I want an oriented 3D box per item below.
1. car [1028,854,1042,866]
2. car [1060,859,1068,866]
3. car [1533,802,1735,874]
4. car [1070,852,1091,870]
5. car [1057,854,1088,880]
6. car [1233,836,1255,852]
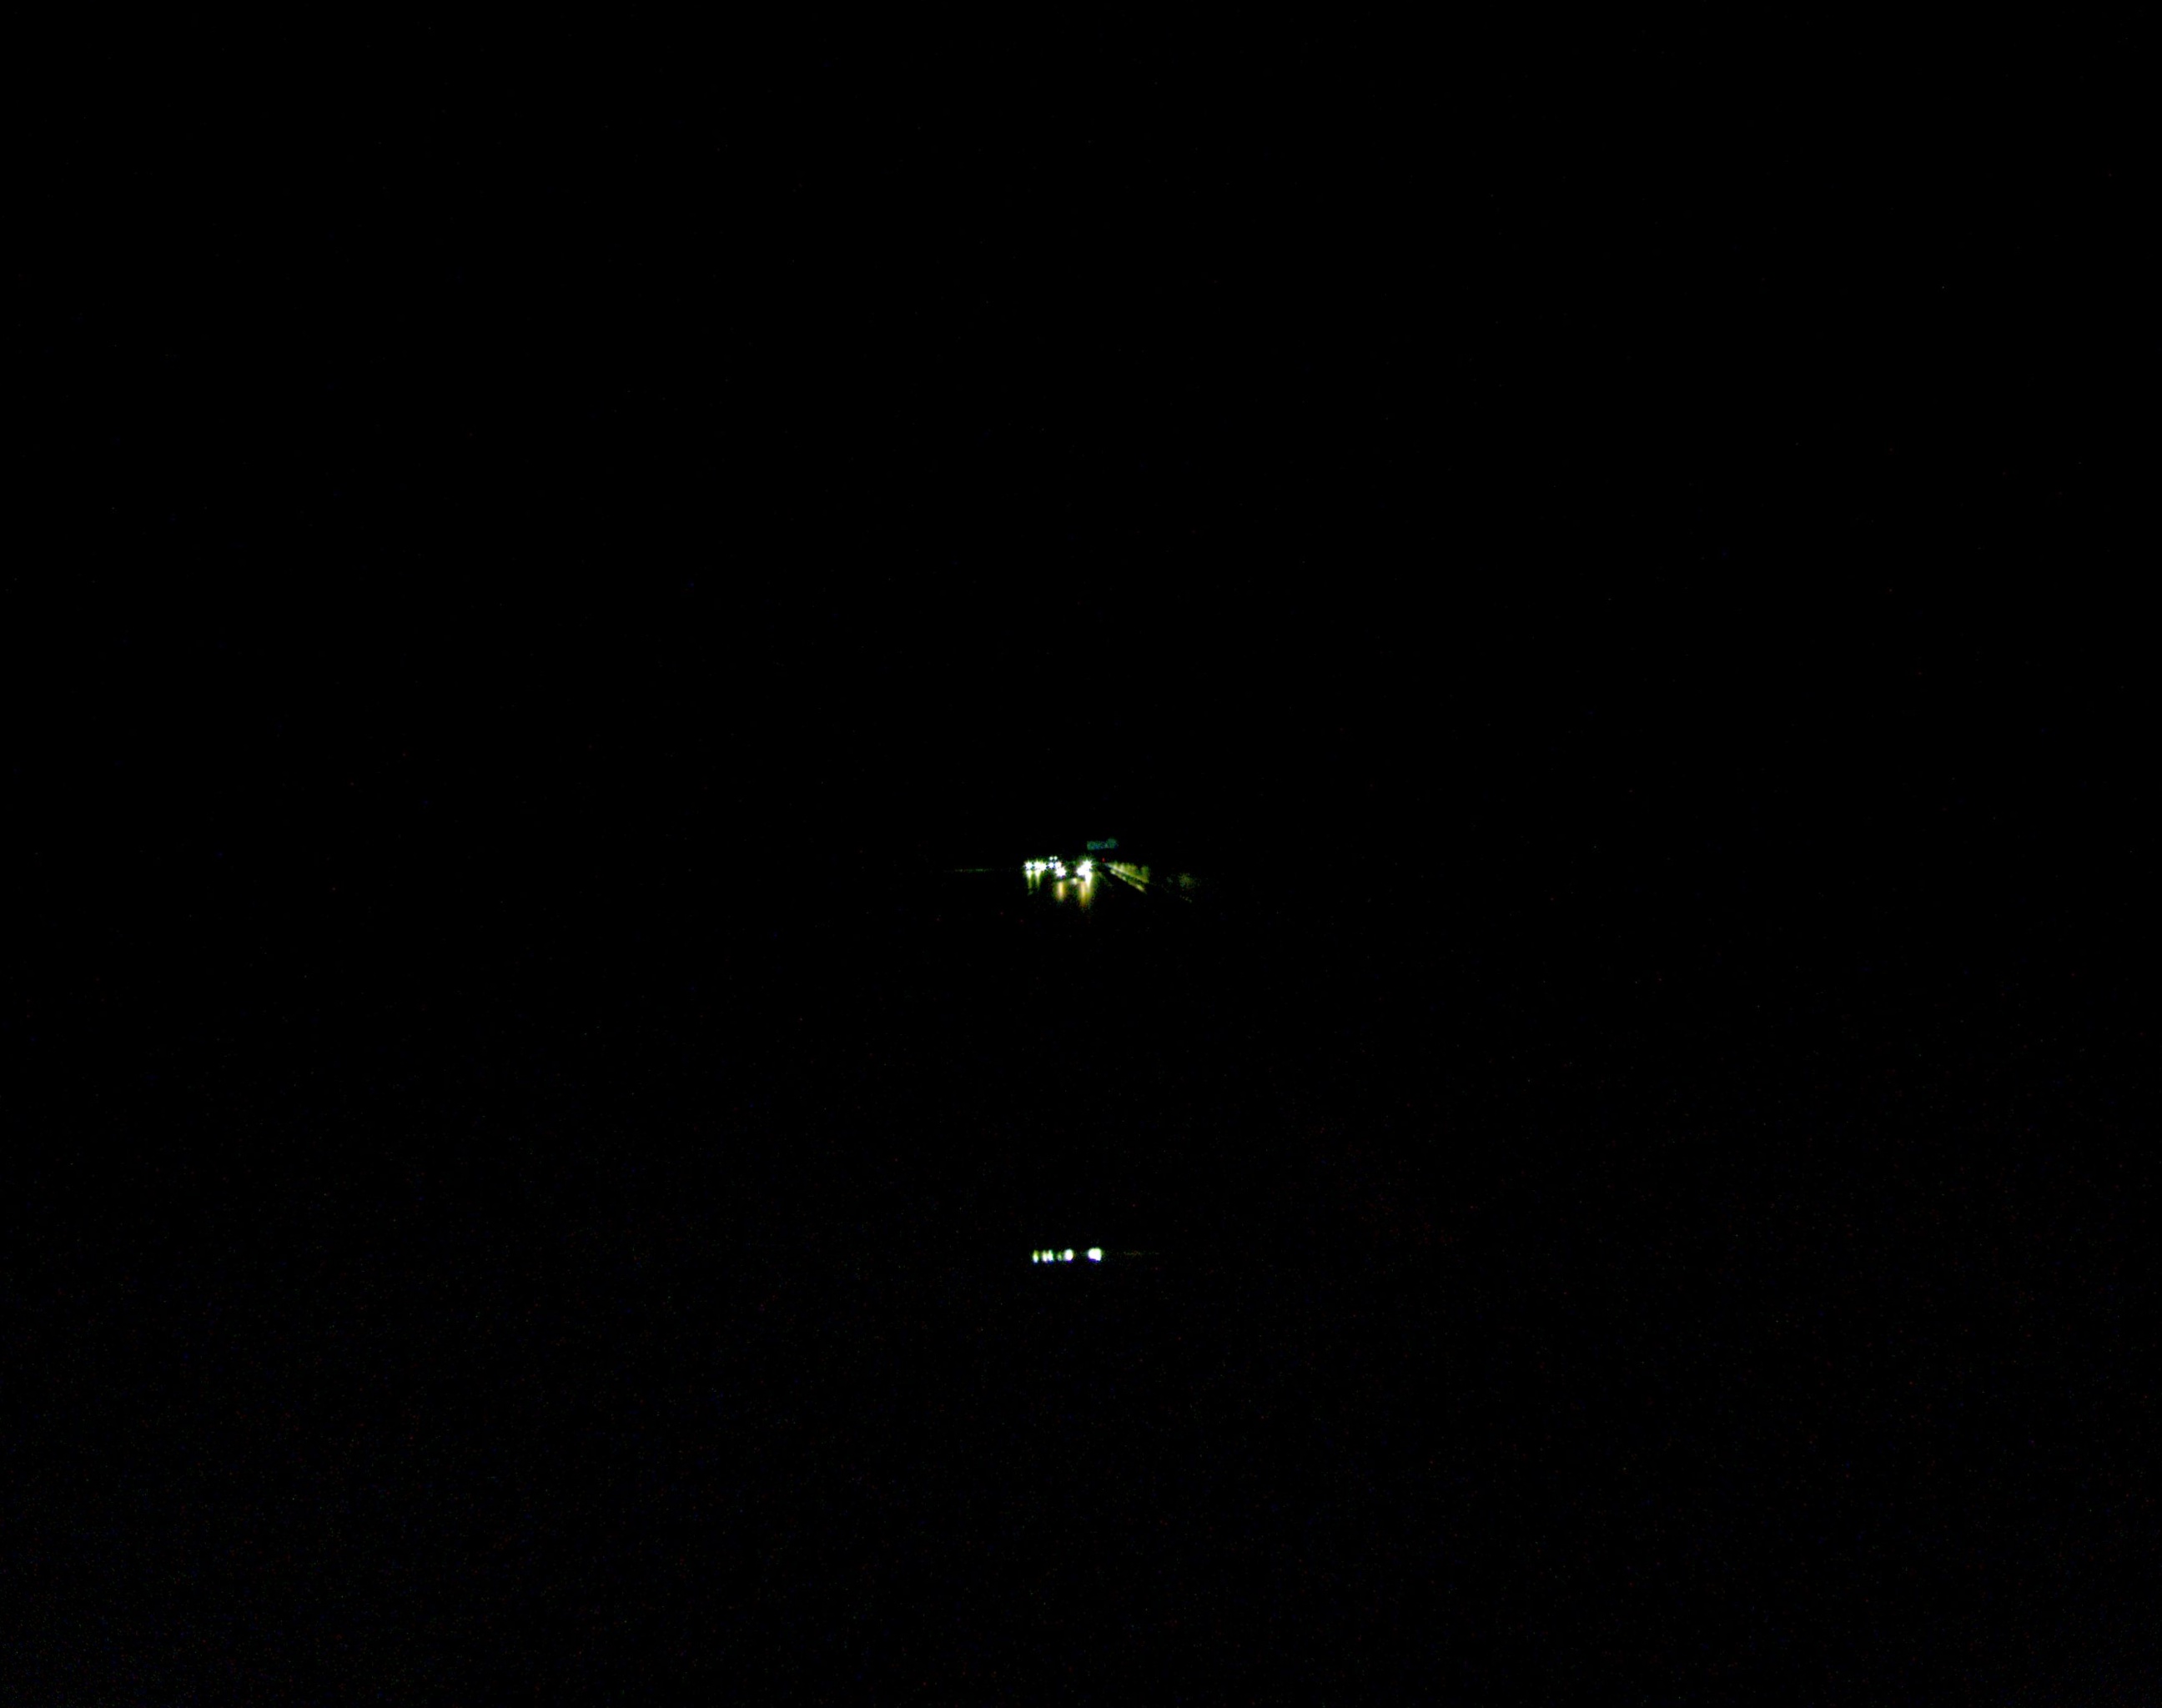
[{"bbox_3d":[-7.475,0.972,123.527,1.999,1.707,5.168,-5,-1,-1],"label":"car"},{"bbox_3d":[-4.392,2.141,193.386,1.939,1.608,4.000,-5,-1,-1],"label":"car"},{"bbox_3d":[15.166,-0.360,21.269,1.998,1.626,4.749,-5,-1,-1],"label":"car"},{"bbox_3d":[0.006,0.725,80.528,2.012,1.652,4.001,-5,-1,1],"label":"car"},{"bbox_3d":[-0.598,0.862,49.664,1.840,1.392,5.069,-5,-1,-2],"label":"car"},{"bbox_3d":[21.396,-1.298,99.960,1.999,1.914,3.999,-2,0,-1],"label":"car"}]
